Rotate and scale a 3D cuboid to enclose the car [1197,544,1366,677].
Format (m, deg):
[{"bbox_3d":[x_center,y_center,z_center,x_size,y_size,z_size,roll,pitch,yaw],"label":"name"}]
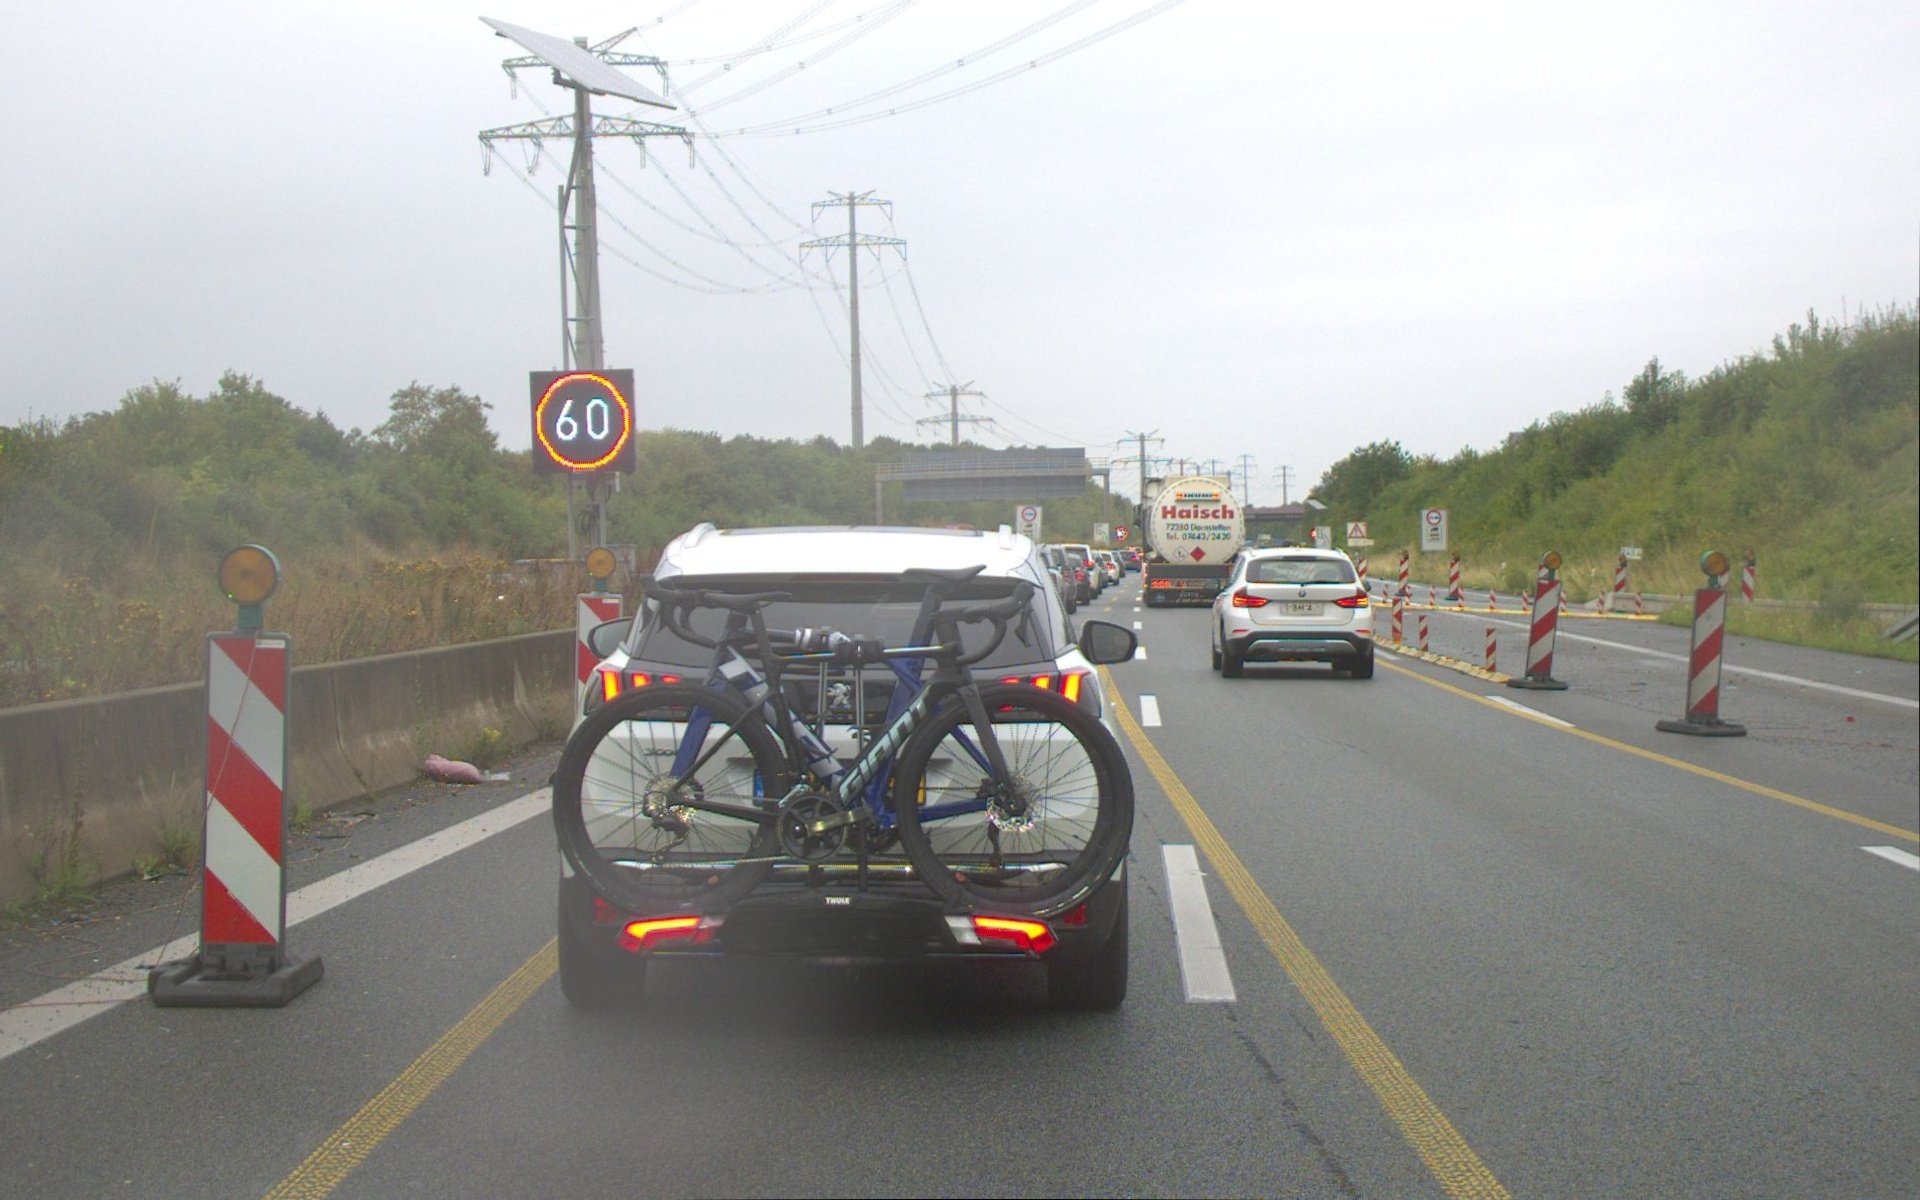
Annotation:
[{"bbox_3d":[3.823,0.087,41.458,1.870,1.529,4.196,0,1,3],"label":"car"}]

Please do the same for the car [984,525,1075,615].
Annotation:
[{"bbox_3d":[1.602,-0.728,80.563,1.993,2.007,4.000,-1,1,0],"label":"car"}]

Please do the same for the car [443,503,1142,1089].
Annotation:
[{"bbox_3d":[-0.388,0.501,11.795,1.928,1.605,4.595,0,1,2],"label":"car"}]

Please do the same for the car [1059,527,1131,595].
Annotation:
[{"bbox_3d":[4.086,-1.179,104.353,1.993,2.007,4.000,1,0,0],"label":"car"}]

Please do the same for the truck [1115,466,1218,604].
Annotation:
[{"bbox_3d":[5.942,-1.855,99.319,2.644,3.877,4.030,1,0,0],"label":"truck"}]

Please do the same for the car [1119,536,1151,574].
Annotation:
[{"bbox_3d":[9.306,-2.376,182.436,1.654,2.007,4.000,0,1,4],"label":"car"}]

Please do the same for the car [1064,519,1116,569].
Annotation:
[{"bbox_3d":[5.380,-2.300,142.613,1.993,2.007,4.000,1,0,0],"label":"car"}]

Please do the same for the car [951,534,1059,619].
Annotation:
[{"bbox_3d":[0.833,-0.471,66.000,1.993,1.578,4.000,0,1,0],"label":"car"}]

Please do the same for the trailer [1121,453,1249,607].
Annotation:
[{"bbox_3d":[5.982,-1.820,92.918,2.637,3.880,10.544,1,0,0],"label":"trailer"}]
